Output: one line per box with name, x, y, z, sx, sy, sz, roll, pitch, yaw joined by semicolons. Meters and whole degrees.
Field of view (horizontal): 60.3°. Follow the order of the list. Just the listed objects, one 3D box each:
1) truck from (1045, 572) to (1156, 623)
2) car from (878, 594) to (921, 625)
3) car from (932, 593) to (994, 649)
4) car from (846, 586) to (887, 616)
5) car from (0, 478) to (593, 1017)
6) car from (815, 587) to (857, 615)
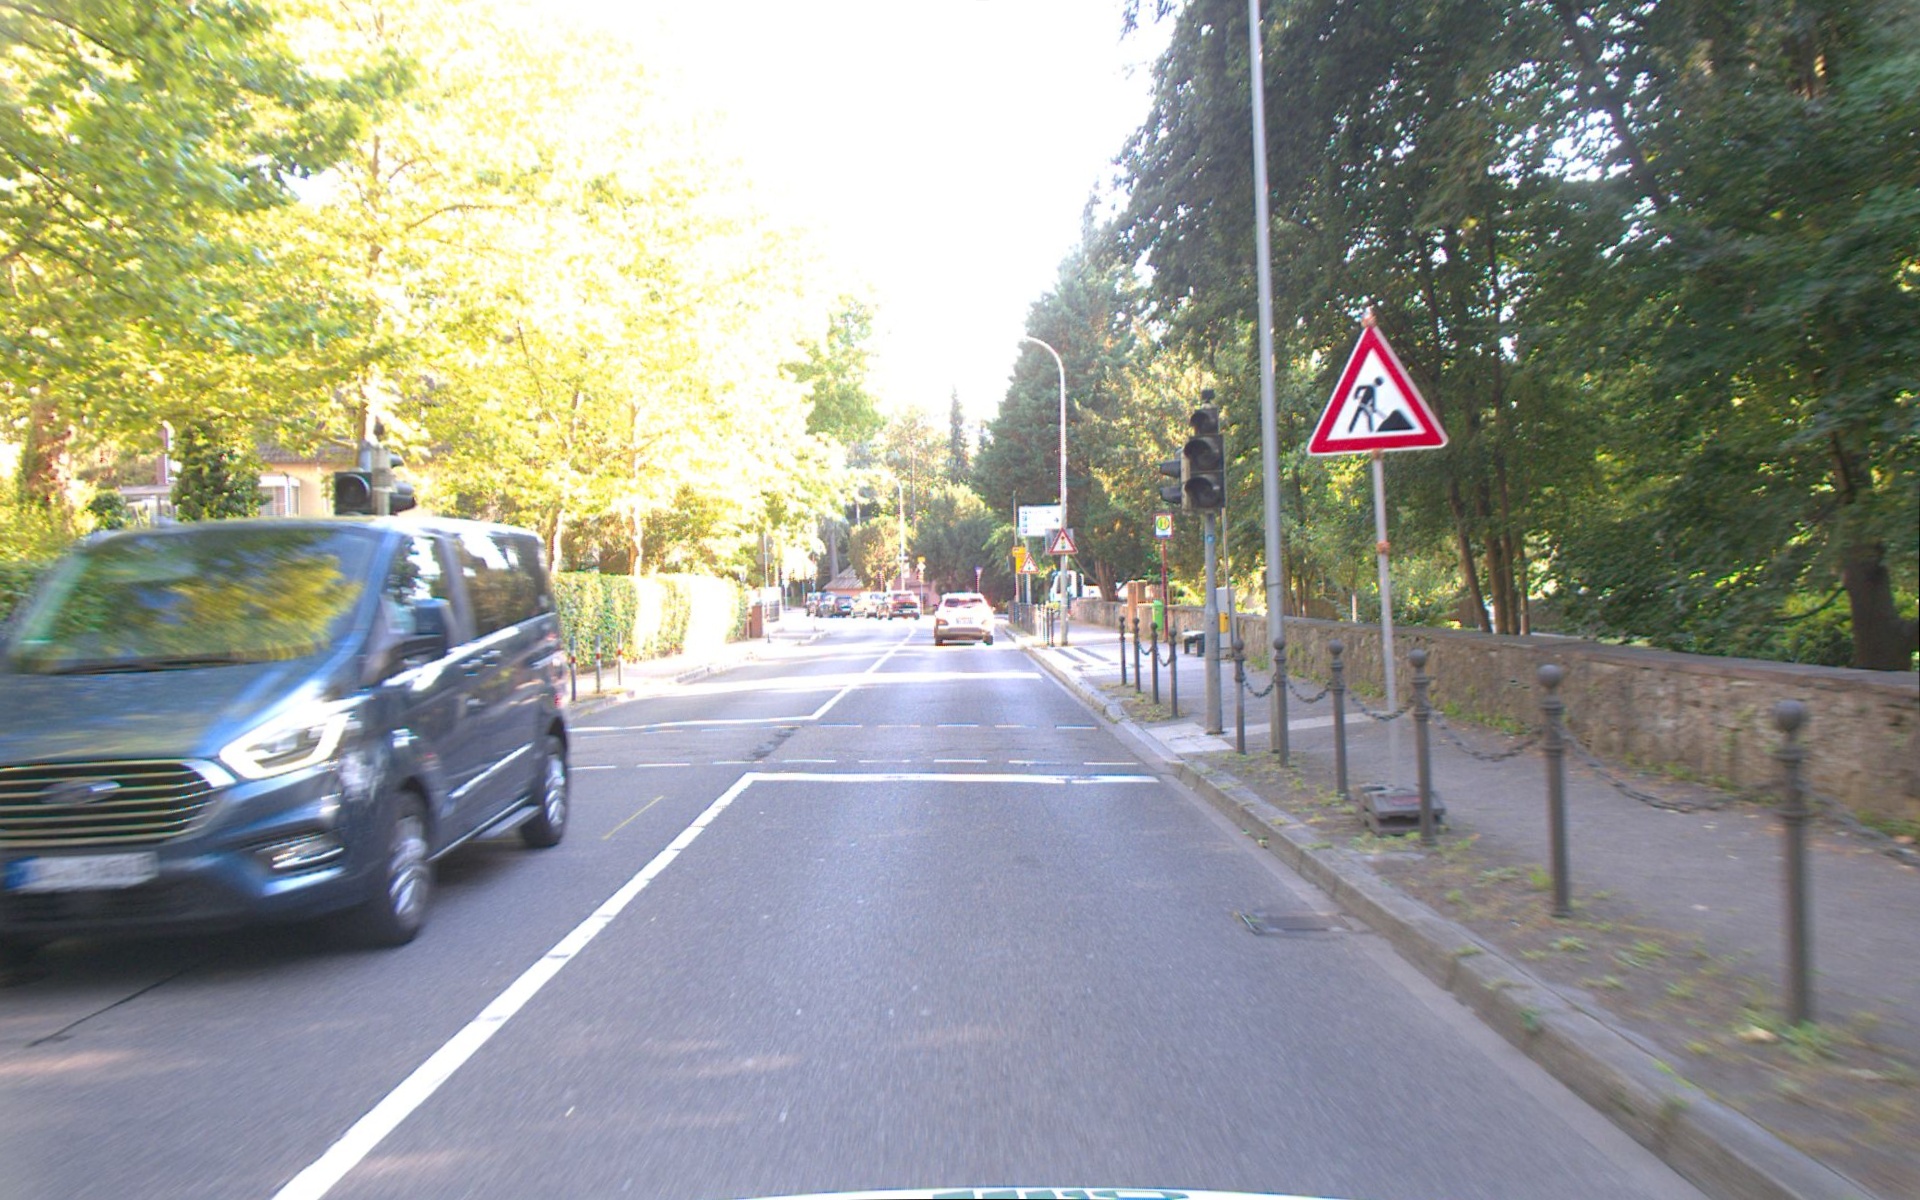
truck;8.352;-0.157;98.436;6.448;2.945;2.434;0;0;4
car;-3.419;0.501;93.112;1.799;1.691;3.988;0;0;-12
car;0.058;0.612;51.418;1.783;1.601;3.999;2;0;-1
car;-5.711;0.080;100.810;1.800;1.771;3.986;0;0;-14
car;-3.408;0.567;8.758;1.954;2.002;4.775;-3;0;-3
car;-8.035;0.043;106.695;1.803;1.691;3.980;2;0;-18
